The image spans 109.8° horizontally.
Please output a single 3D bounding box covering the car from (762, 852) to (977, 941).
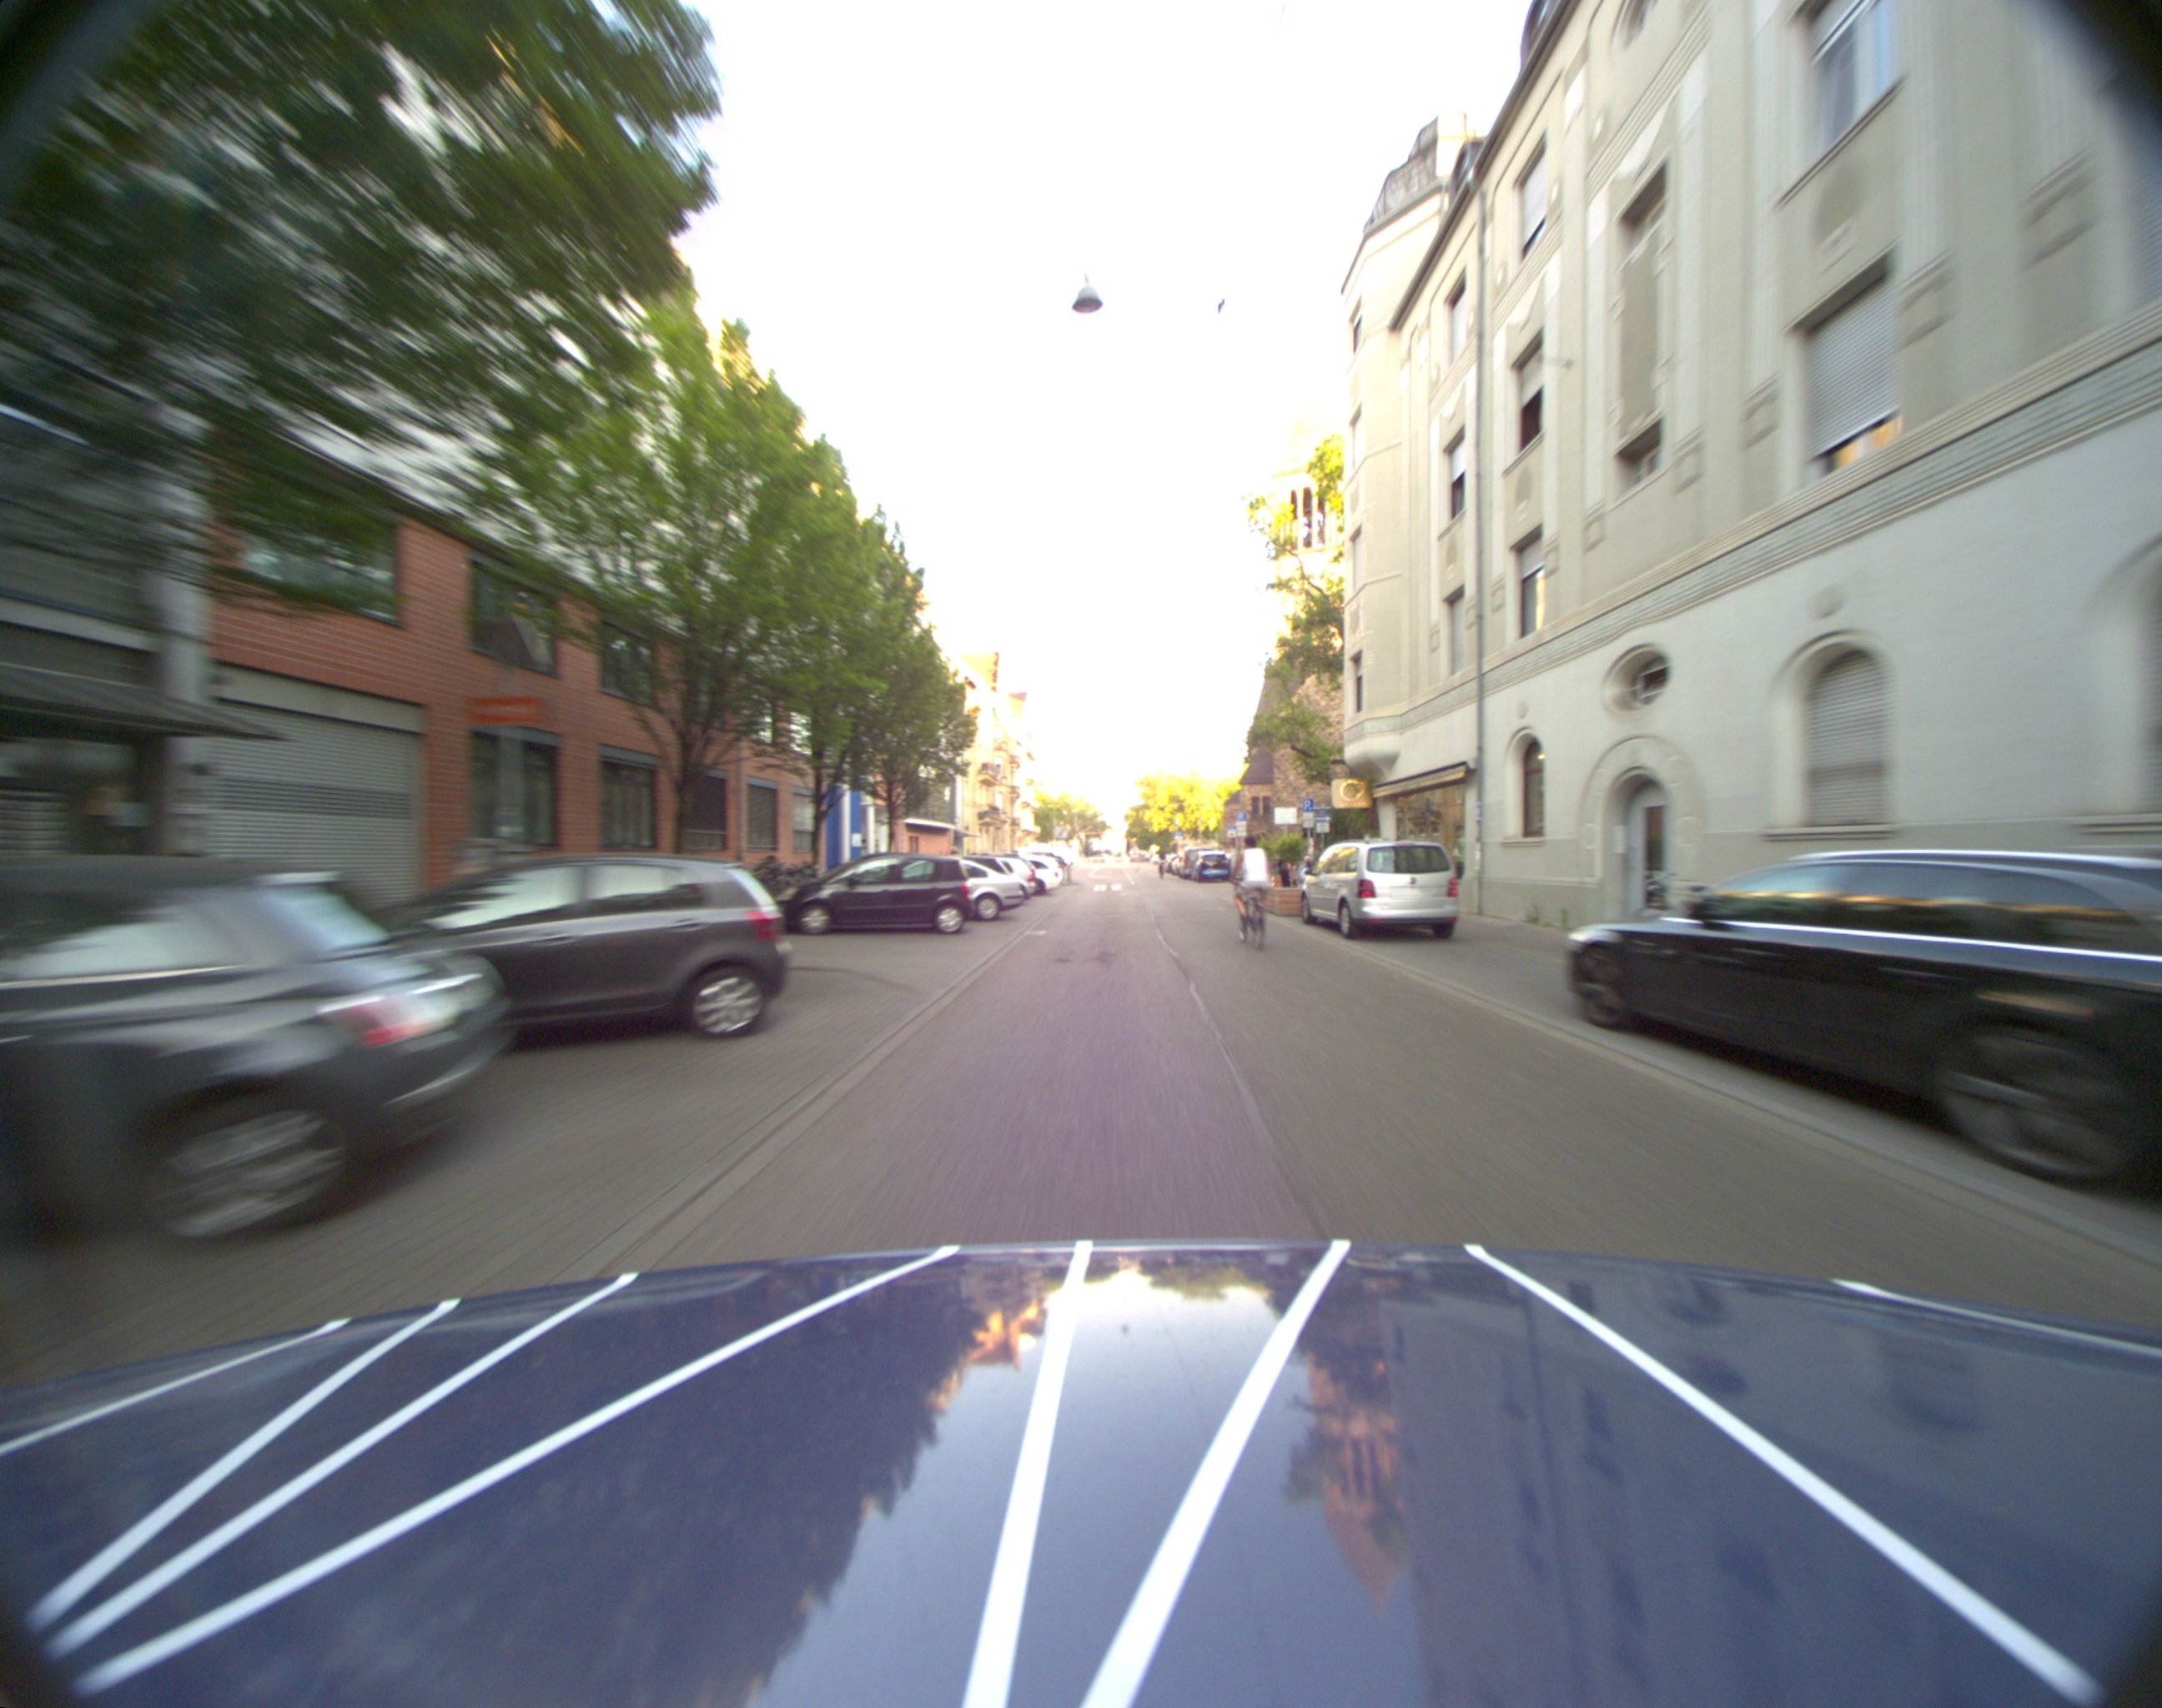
[{"bbox_3d":[-4.128,0.820,14.983,3.838,1.557,1.675,2,1,-19],"label":"car"}]

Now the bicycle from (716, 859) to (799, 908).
[{"bbox_3d":[-8.079,0.735,19.004,1.769,1.094,0.546,4,1,-4],"label":"bicycle"}]

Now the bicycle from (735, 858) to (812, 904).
[{"bbox_3d":[-8.173,0.714,20.243,1.769,1.094,0.546,4,1,-4],"label":"bicycle"}]

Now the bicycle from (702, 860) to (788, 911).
[{"bbox_3d":[-8.109,0.751,18.401,1.769,1.094,0.546,4,1,-4],"label":"bicycle"}]

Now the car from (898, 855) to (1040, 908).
[{"bbox_3d":[-3.344,0.809,22.802,3.841,1.422,1.674,2,1,-27],"label":"car"}]

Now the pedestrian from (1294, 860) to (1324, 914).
[{"bbox_3d":[5.651,0.810,18.844,0.571,1.315,0.496,-2,1,2],"label":"pedestrian"}]

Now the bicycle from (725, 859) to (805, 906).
[{"bbox_3d":[-8.129,0.729,19.598,1.769,1.094,0.546,4,1,-4],"label":"bicycle"}]

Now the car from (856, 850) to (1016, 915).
[{"bbox_3d":[-3.870,0.759,20.352,3.841,1.557,1.674,2,1,-27],"label":"car"}]

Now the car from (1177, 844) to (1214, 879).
[{"bbox_3d":[6.627,0.387,44.351,1.785,1.860,4.458,-2,1,4],"label":"car"}]

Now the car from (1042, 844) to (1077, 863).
[{"bbox_3d":[-2.723,-0.101,96.357,4.202,2.280,1.673,1,2,-37],"label":"car"}]

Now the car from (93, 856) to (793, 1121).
[{"bbox_3d":[-4.466,0.832,6.064,3.806,1.508,1.646,2,0,-30],"label":"car"}]

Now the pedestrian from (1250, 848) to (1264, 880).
[{"bbox_3d":[8.772,0.500,37.864,0.508,1.597,0.562,-2,1,2],"label":"pedestrian"}]

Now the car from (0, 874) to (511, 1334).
[{"bbox_3d":[-4.713,0.866,3.014,3.637,1.508,1.621,2,0,-25],"label":"car"}]

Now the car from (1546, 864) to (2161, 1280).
[{"bbox_3d":[4.955,0.825,4.372,1.932,1.422,4.481,-1,0,2],"label":"car"}]

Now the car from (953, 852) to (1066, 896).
[{"bbox_3d":[-2.664,0.774,28.607,3.841,1.510,1.673,2,1,-30],"label":"car"}]

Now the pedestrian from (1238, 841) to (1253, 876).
[{"bbox_3d":[8.145,0.232,37.668,0.566,1.723,0.562,-2,1,2],"label":"pedestrian"}]

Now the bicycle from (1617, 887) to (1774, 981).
[{"bbox_3d":[7.600,0.941,9.521,0.477,0.938,1.896,-2,1,2],"label":"bicycle"}]

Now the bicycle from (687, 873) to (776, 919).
[{"bbox_3d":[-8.135,0.974,17.724,1.769,0.921,0.546,4,1,-4],"label":"bicycle"}]

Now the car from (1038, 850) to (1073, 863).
[{"bbox_3d":[-3.115,0.337,93.250,3.842,1.510,1.673,2,1,-32],"label":"car"}]

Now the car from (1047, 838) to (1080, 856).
[{"bbox_3d":[-2.378,-0.936,104.781,4.201,2.246,1.673,2,1,-33],"label":"car"}]

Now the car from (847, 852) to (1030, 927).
[{"bbox_3d":[-3.305,0.800,17.722,3.841,1.557,1.674,2,1,-27],"label":"car"}]

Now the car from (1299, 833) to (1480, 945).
[{"bbox_3d":[5.227,0.523,13.462,1.730,1.638,3.917,-2,0,3],"label":"car"}]

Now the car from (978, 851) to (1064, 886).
[{"bbox_3d":[-2.912,0.688,36.529,3.836,1.510,1.675,2,1,-13],"label":"car"}]

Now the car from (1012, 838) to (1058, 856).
[{"bbox_3d":[-4.263,-0.650,70.156,3.840,1.510,1.674,2,1,-26],"label":"car"}]

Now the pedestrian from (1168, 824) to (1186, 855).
[{"bbox_3d":[8.807,-1.326,69.641,1.445,2.725,1.012,-2,1,1],"label":"pedestrian"}]

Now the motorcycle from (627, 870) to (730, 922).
[{"bbox_3d":[-8.271,0.842,15.613,1.983,0.921,0.591,3,1,16],"label":"motorcycle"}]

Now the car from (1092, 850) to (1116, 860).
[{"bbox_3d":[4.139,0.213,136.929,4.072,1.688,1.681,3,1,22],"label":"car"}]

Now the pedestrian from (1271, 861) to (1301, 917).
[{"bbox_3d":[4.949,0.838,18.354,0.571,1.315,0.496,-2,1,2],"label":"pedestrian"}]

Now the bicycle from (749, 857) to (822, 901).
[{"bbox_3d":[-8.308,0.699,21.418,1.769,1.094,0.546,4,1,-4],"label":"bicycle"}]

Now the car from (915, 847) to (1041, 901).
[{"bbox_3d":[-3.476,0.677,25.574,3.840,1.639,1.674,2,1,-25],"label":"car"}]

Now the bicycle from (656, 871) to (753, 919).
[{"bbox_3d":[-8.156,0.888,16.512,1.769,0.921,0.546,4,1,-4],"label":"bicycle"}]

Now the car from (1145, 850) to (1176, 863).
[{"bbox_3d":[11.370,0.375,109.217,4.070,1.688,1.681,3,1,31],"label":"car"}]

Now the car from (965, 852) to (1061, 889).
[{"bbox_3d":[-3.013,0.731,33.704,3.840,1.510,1.674,2,1,-26],"label":"car"}]

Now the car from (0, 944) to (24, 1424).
[{"bbox_3d":[-4.358,0.942,0.616,3.638,1.412,1.827,2,0,-29],"label":"car"}]

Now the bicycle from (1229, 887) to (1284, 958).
[{"bbox_3d":[2.797,1.067,12.275,0.477,0.938,1.896,-2,1,2],"label":"bicycle"}]

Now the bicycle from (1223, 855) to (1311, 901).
[{"bbox_3d":[5.841,0.762,23.891,2.619,1.390,0.602,-1,1,15],"label":"bicycle"}]

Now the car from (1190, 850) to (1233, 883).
[{"bbox_3d":[6.703,0.617,39.365,1.785,1.537,4.000,-2,1,4],"label":"car"}]

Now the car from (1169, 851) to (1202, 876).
[{"bbox_3d":[7.089,0.596,51.673,1.785,1.537,4.000,-2,1,2],"label":"car"}]

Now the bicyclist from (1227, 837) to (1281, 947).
[{"bbox_3d":[2.751,0.576,12.177,0.624,1.682,1.003,-2,1,2],"label":"bicyclist"}]

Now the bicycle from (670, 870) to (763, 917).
[{"bbox_3d":[-8.187,0.881,17.104,1.769,0.921,0.546,4,1,-4],"label":"bicycle"}]

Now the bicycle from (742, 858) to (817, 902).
[{"bbox_3d":[-8.245,0.705,20.833,1.769,1.094,0.546,4,1,-4],"label":"bicycle"}]
